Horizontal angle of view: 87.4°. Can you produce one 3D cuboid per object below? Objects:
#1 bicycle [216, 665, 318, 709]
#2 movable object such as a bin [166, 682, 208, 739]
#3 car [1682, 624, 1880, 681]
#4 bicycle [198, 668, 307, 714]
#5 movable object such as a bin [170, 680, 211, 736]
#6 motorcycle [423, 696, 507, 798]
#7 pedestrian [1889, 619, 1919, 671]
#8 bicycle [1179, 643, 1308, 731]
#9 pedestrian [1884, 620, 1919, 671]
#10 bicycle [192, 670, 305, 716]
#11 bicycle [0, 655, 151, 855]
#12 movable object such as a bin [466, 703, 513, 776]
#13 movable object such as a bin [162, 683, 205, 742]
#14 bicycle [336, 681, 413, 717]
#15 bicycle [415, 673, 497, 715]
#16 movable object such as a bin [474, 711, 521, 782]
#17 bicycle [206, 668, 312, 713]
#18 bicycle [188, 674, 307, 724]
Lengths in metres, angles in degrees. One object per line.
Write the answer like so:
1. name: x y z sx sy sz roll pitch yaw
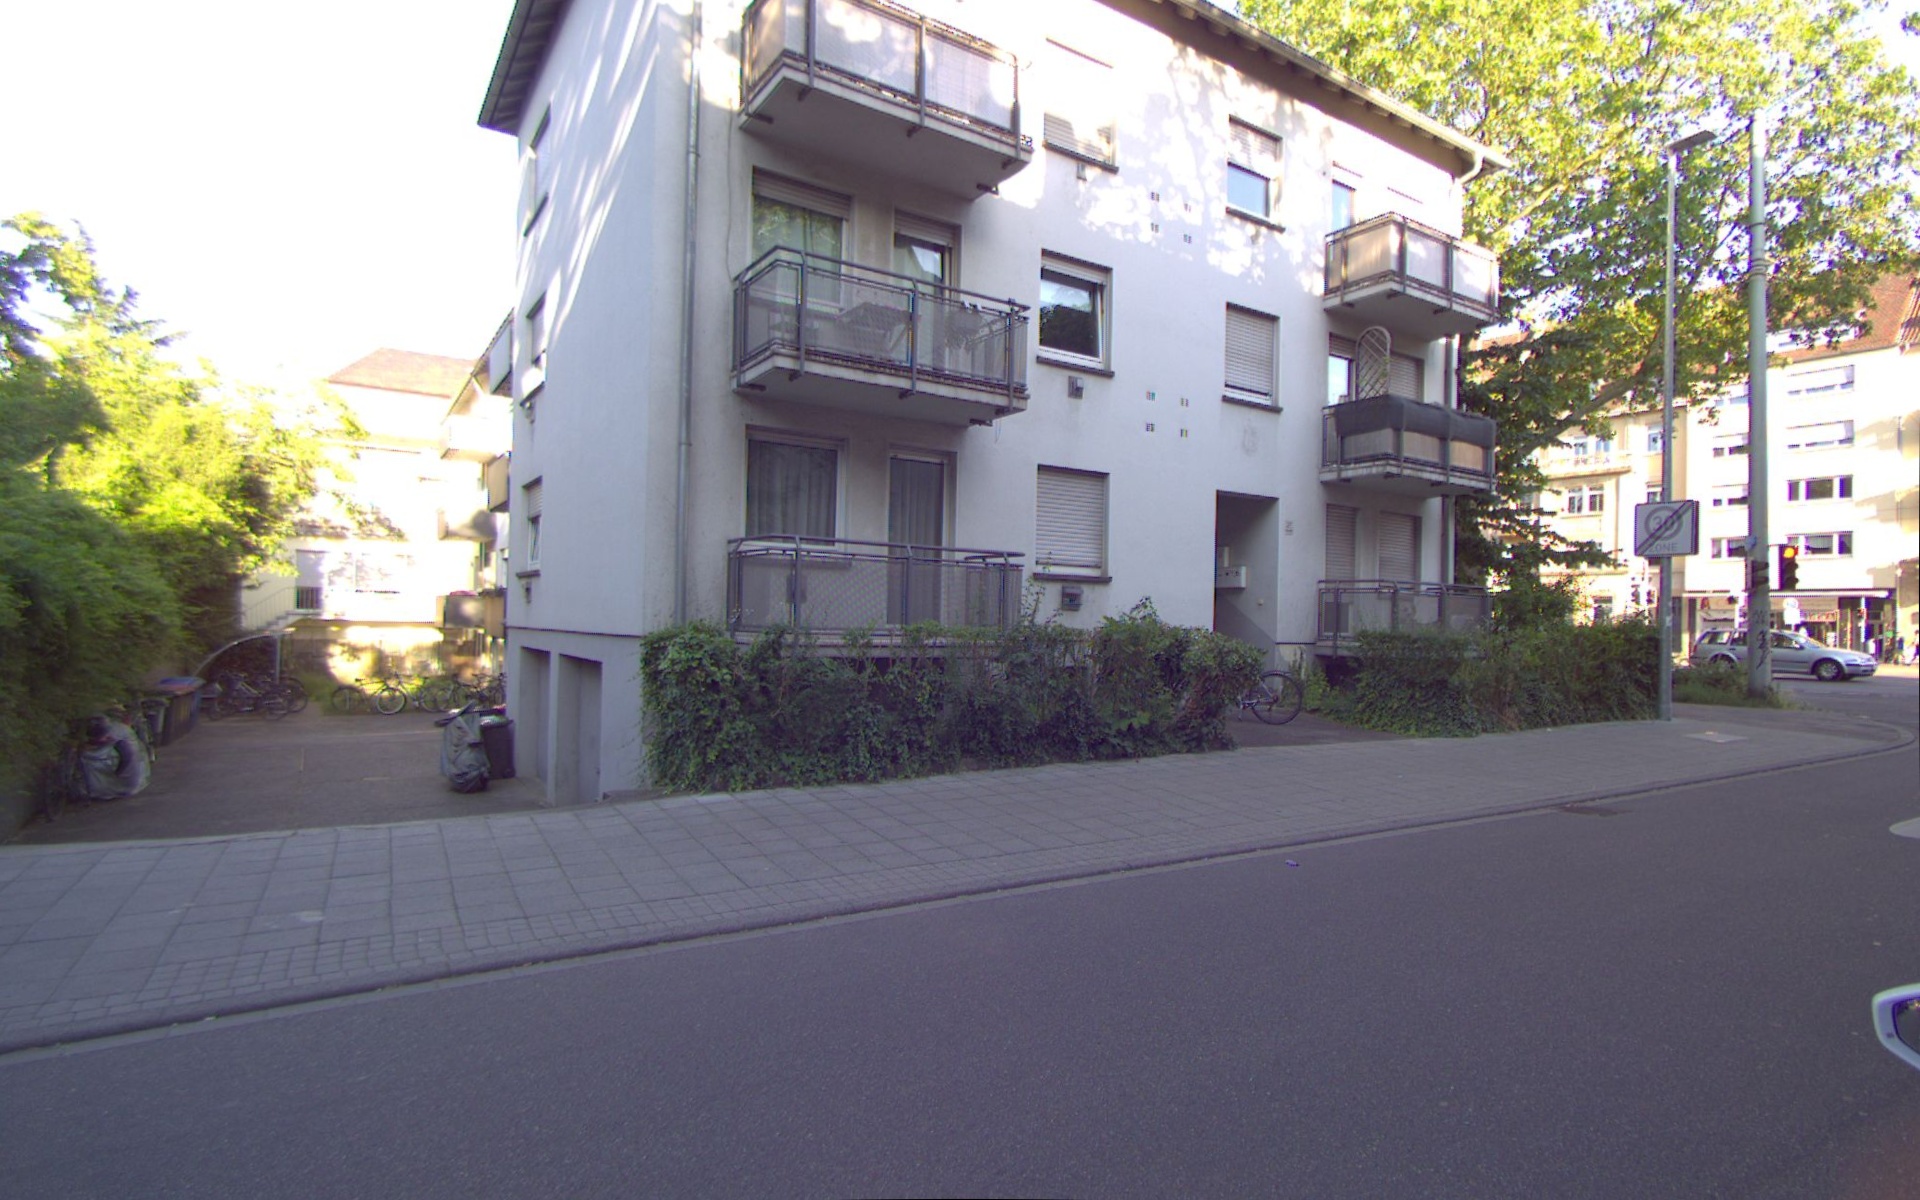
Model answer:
1. bicycle: -19.643 2.456 28.538 2.311 1.192 0.689 2 -4 -30
2. movable object such as a bin: -15.931 2.262 20.721 0.606 1.129 0.795 1 -3 -33
3. car: 24.352 1.512 29.955 1.645 1.516 4.316 1 -1 -36
4. bicycle: -19.026 2.439 27.084 2.311 1.192 0.689 2 -4 -30
5. movable object such as a bin: -16.363 2.292 21.383 0.606 1.129 0.795 1 -3 -33
6. motorcycle: -7.405 2.153 15.004 0.739 1.313 1.563 2 -2 -41
7. pedestrian: 46.510 2.206 49.124 1.049 2.497 1.338 1 0 -34
8. bicycle: 3.828 1.150 13.566 1.590 1.022 0.517 3 1 20
9. pedestrian: 47.395 2.249 50.347 1.049 2.497 1.338 1 0 -34
10. bicycle: -18.600 2.421 26.337 2.311 1.148 0.689 2 -4 -30
11. bicycle: -10.603 1.658 11.976 0.961 1.917 4.156 1 -2 -32
12. movable object such as a bin: -7.917 2.330 16.898 0.606 1.129 0.795 1 -3 -33
13. movable object such as a bin: -15.490 2.229 20.050 0.606 1.129 0.795 1 -3 -33
14. bicycle: -15.566 2.630 26.742 1.734 0.890 0.561 2 -4 -30
15. bicycle: -13.912 2.578 27.742 1.982 1.085 0.561 2 -4 -30
16. movable object such as a bin: -7.402 2.329 16.086 0.606 1.051 0.534 1 -3 -34
17. bicycle: -19.372 2.473 27.810 2.311 1.192 0.689 2 -4 -30
18. bicycle: -17.336 2.387 24.523 2.268 1.148 0.689 2 -4 -30
